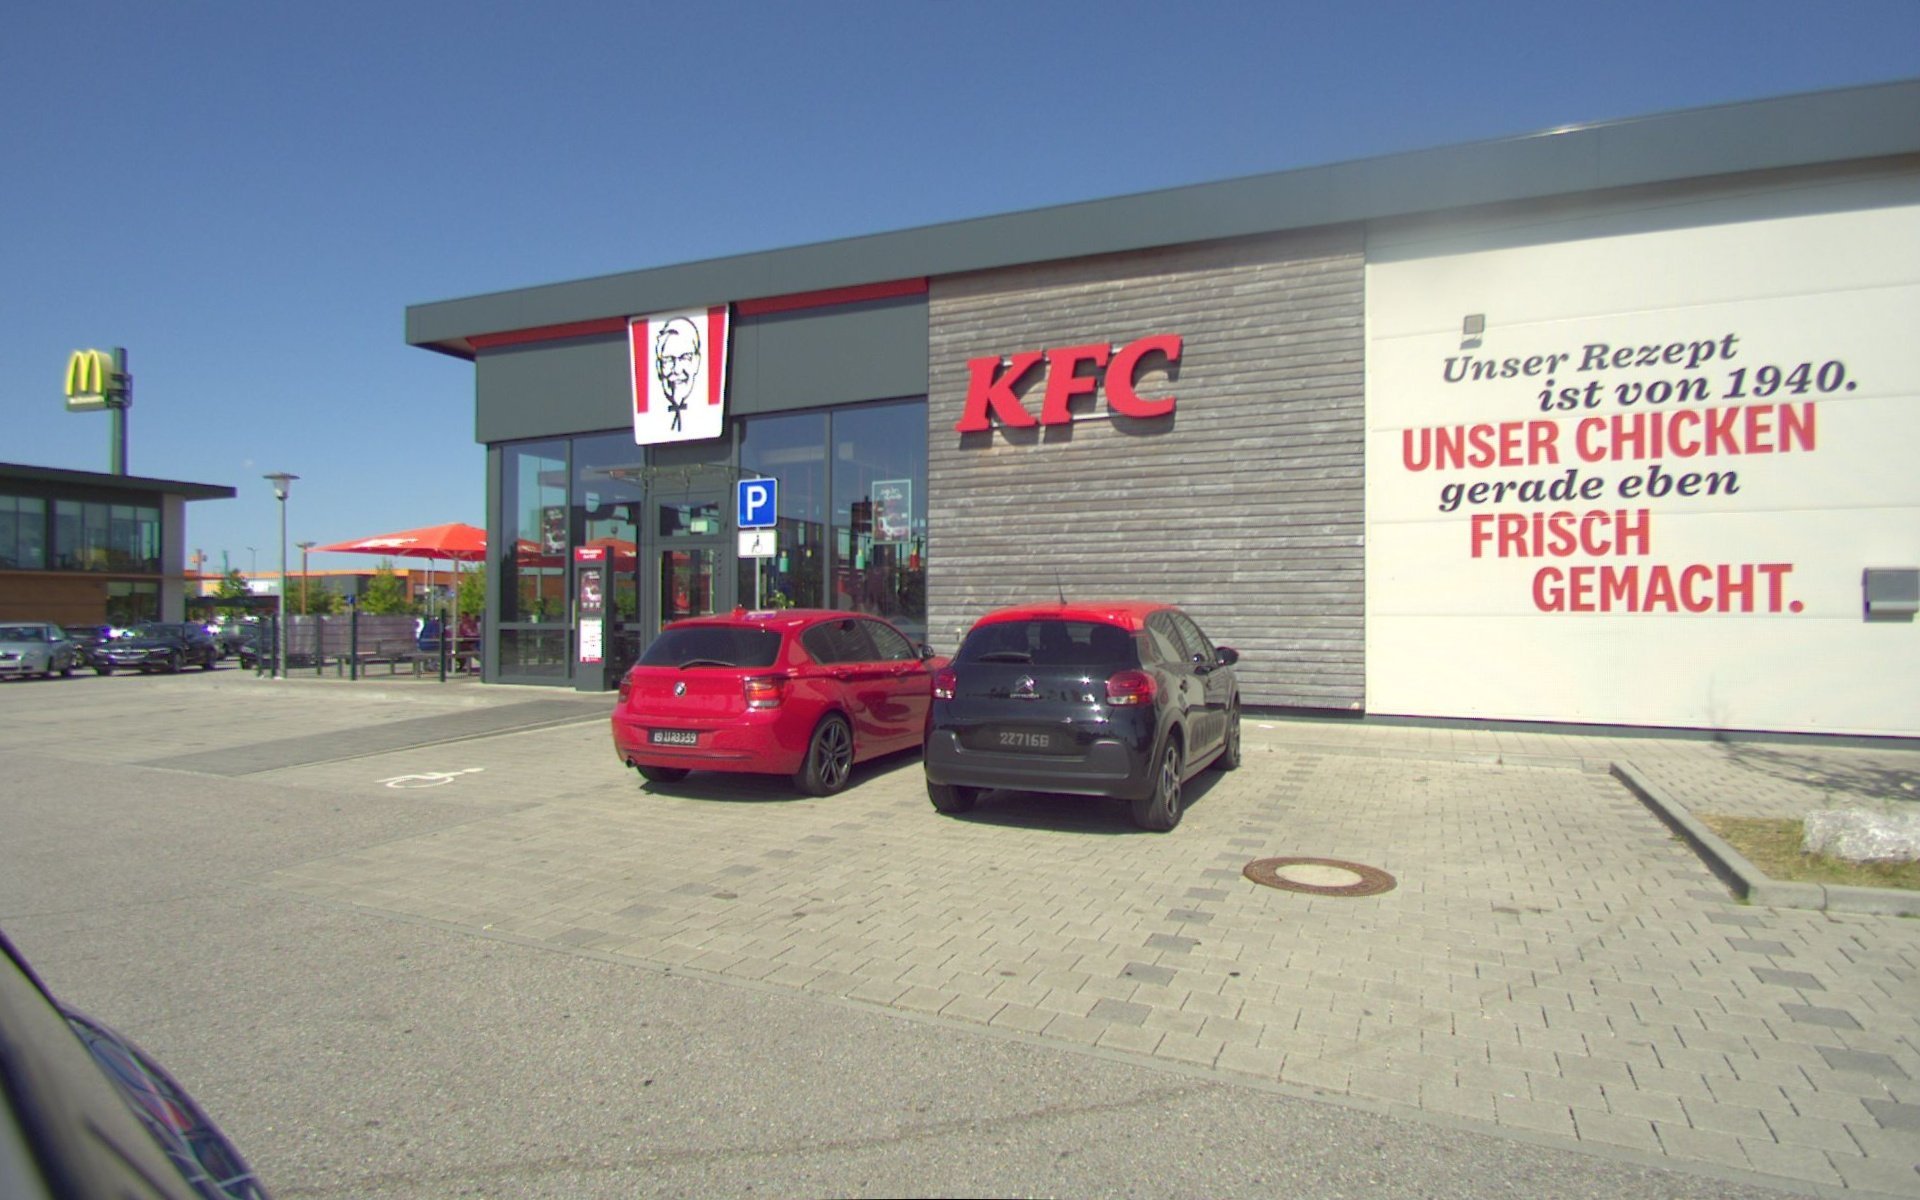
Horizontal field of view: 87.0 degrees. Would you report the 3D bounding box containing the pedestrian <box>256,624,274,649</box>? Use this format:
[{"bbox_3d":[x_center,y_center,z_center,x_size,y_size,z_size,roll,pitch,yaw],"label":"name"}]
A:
[{"bbox_3d":[-44.082,2.288,64.190,0.718,1.571,0.695,-1,-2,26],"label":"pedestrian"}]

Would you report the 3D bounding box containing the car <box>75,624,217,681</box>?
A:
[{"bbox_3d":[-23.571,1.478,29.530,1.941,1.498,4.799,0,-2,-22],"label":"car"}]

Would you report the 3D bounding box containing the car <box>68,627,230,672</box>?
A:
[{"bbox_3d":[-29.098,1.746,36.469,4.206,1.498,1.819,-1,-1,-19],"label":"car"}]

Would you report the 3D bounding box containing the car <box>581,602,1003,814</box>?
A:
[{"bbox_3d":[-1.176,0.752,9.180,1.729,1.423,4.368,-1,-1,23],"label":"car"}]

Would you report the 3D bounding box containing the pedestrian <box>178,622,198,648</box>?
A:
[{"bbox_3d":[-46.535,2.106,61.005,0.691,1.571,0.722,-1,-2,-3],"label":"pedestrian"}]

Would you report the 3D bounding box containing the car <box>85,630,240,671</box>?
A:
[{"bbox_3d":[-32.165,1.994,40.993,4.565,1.498,1.902,-1,-1,-19],"label":"car"}]

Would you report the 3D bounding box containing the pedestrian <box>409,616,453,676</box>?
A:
[{"bbox_3d":[-11.570,1.008,22.124,0.607,1.283,0.622,-1,-2,9],"label":"pedestrian"}]

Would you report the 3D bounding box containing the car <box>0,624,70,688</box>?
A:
[{"bbox_3d":[-24.808,1.443,26.386,1.942,1.538,4.217,0,-2,-35],"label":"car"}]

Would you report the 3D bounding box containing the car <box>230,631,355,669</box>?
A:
[{"bbox_3d":[-27.774,2.057,42.272,4.044,1.424,1.819,-1,-1,-19],"label":"car"}]

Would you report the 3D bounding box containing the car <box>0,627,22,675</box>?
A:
[{"bbox_3d":[-33.157,1.680,32.522,4.044,1.527,1.819,-1,-1,-19],"label":"car"}]

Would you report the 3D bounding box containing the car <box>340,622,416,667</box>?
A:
[{"bbox_3d":[-20.756,1.563,36.253,1.804,1.471,4.599,0,-2,-22],"label":"car"}]

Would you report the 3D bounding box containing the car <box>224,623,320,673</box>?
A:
[{"bbox_3d":[-22.042,1.524,32.585,1.804,1.471,4.384,0,-2,-24],"label":"car"}]

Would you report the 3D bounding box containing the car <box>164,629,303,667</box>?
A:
[{"bbox_3d":[-31.479,2.063,43.999,4.565,1.498,1.902,-1,-1,-19],"label":"car"}]

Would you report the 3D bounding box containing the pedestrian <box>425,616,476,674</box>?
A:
[{"bbox_3d":[-11.525,1.019,22.895,0.678,1.283,0.839,-1,-2,9],"label":"pedestrian"}]

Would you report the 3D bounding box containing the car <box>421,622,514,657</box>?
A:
[{"bbox_3d":[-23.867,1.907,49.211,3.930,1.564,1.760,0,-2,-22],"label":"car"}]

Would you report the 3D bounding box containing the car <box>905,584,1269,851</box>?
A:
[{"bbox_3d":[1.239,0.687,7.899,1.730,1.518,3.876,-1,-1,24],"label":"car"}]

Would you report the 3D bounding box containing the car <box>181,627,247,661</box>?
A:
[{"bbox_3d":[-37.827,2.233,51.415,1.687,1.625,4.049,0,-2,-21],"label":"car"}]

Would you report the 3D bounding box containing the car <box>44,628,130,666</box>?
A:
[{"bbox_3d":[-39.797,2.129,46.265,1.687,1.625,4.049,0,-2,-21],"label":"car"}]

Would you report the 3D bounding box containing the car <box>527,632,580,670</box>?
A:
[{"bbox_3d":[-17.083,2.086,42.497,1.941,1.471,4.221,0,-2,-22],"label":"car"}]

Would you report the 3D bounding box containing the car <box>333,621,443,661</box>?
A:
[{"bbox_3d":[-25.782,1.819,45.774,4.044,1.687,1.819,-1,-1,-19],"label":"car"}]

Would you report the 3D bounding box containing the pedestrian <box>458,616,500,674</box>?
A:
[{"bbox_3d":[-10.769,1.004,22.665,0.678,1.283,0.550,-1,-2,9],"label":"pedestrian"}]
